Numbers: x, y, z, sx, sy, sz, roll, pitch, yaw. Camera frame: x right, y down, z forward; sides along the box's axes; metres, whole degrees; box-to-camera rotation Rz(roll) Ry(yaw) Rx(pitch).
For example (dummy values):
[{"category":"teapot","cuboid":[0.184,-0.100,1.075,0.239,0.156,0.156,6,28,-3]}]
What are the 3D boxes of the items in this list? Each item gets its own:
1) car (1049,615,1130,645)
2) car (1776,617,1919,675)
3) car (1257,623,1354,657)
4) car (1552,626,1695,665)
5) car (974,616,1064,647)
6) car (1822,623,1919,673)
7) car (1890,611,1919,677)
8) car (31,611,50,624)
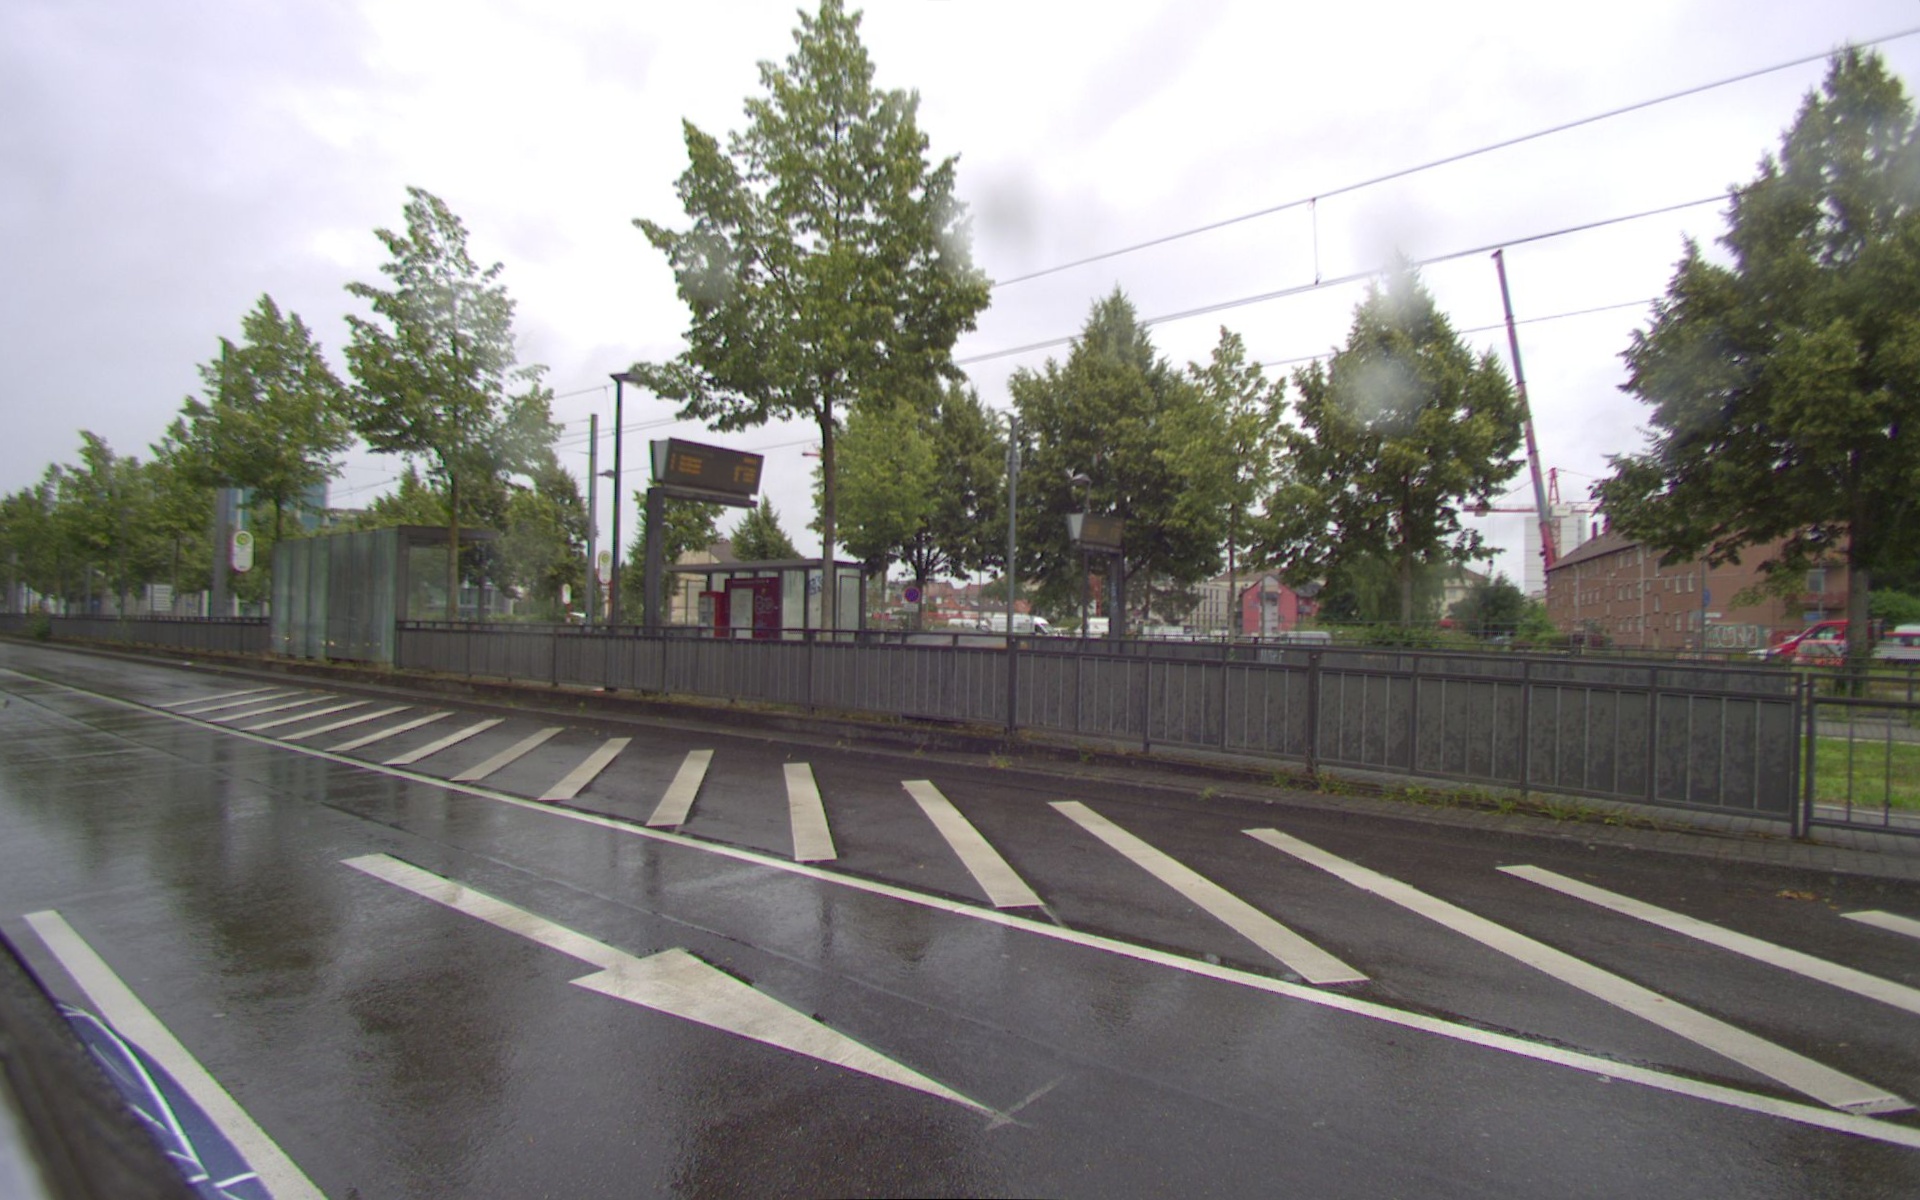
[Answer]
[{"category":"car","cuboid":[11.378,2.578,89.467,6.826,2.495,2.470,-1,0,38]},{"category":"car","cuboid":[34.756,1.670,37.672,2.319,2.029,6.441,-1,0,-38]},{"category":"car","cuboid":[26.559,3.040,77.930,6.804,2.495,2.335,0,-2,28]},{"category":"car","cuboid":[37.069,2.484,56.831,6.393,2.029,2.336,-1,0,26]},{"category":"car","cuboid":[4.970,2.663,86.211,7.627,2.495,2.327,-1,0,38]},{"category":"car","cuboid":[40.000,1.980,41.705,2.319,2.029,6.440,2,-3,-38]},{"category":"car","cuboid":[46.057,1.987,45.157,2.319,2.961,6.441,-1,0,-38]},{"category":"car","cuboid":[-146.828,2.777,161.601,3.999,2.029,1.972,-1,0,42]}]
